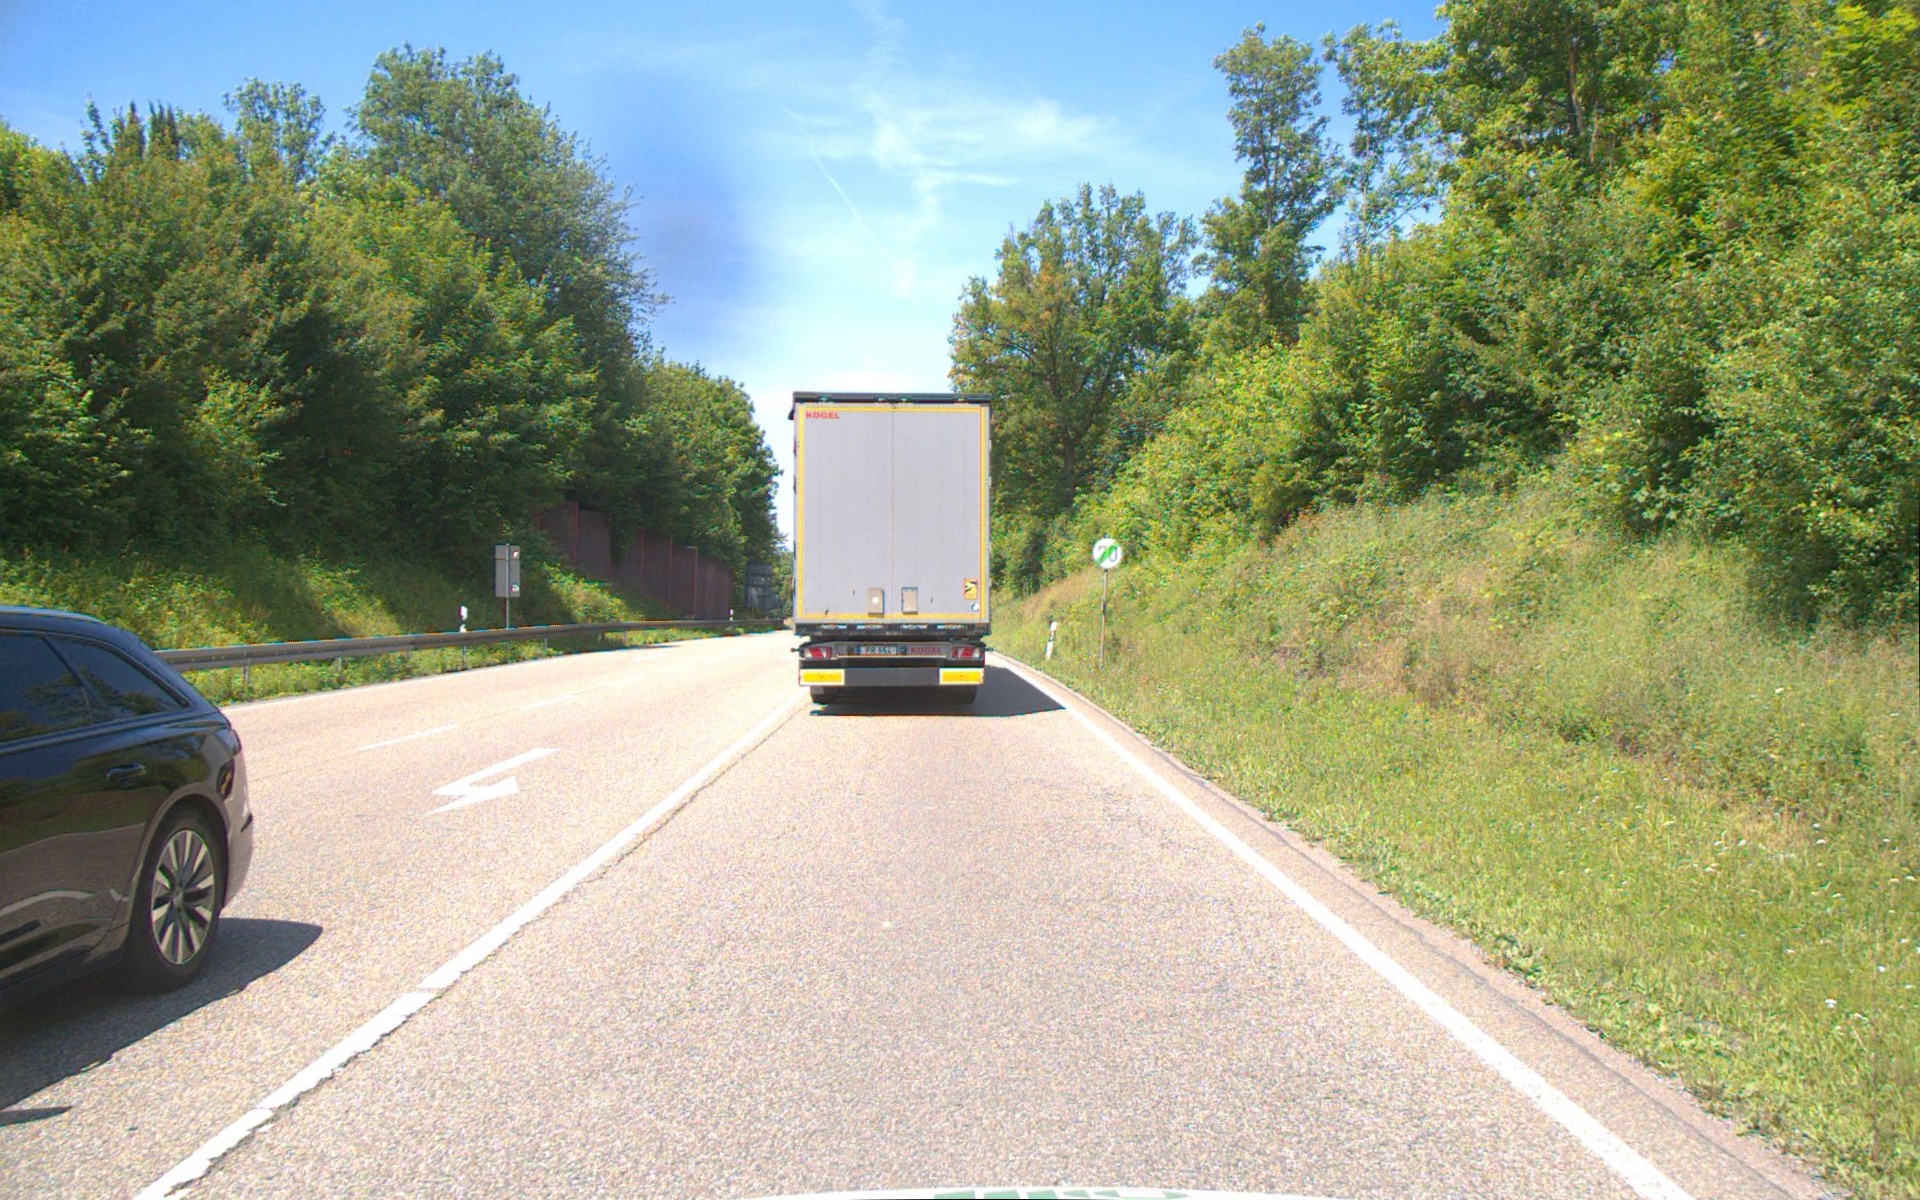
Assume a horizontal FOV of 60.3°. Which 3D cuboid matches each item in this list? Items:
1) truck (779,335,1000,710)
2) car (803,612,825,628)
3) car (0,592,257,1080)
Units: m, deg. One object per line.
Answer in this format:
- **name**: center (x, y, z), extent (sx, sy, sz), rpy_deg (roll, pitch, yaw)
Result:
- **truck**: center (-0.988, -0.994, 24.039), extent (2.765, 4.684, 6.663), rpy_deg (0, 0, -2)
- **car**: center (-14.241, 1.939, 160.781), extent (1.773, 1.460, 3.861), rpy_deg (-1, 0, -11)
- **car**: center (-3.794, 0.713, 4.638), extent (1.767, 1.479, 4.386), rpy_deg (0, 0, 0)
